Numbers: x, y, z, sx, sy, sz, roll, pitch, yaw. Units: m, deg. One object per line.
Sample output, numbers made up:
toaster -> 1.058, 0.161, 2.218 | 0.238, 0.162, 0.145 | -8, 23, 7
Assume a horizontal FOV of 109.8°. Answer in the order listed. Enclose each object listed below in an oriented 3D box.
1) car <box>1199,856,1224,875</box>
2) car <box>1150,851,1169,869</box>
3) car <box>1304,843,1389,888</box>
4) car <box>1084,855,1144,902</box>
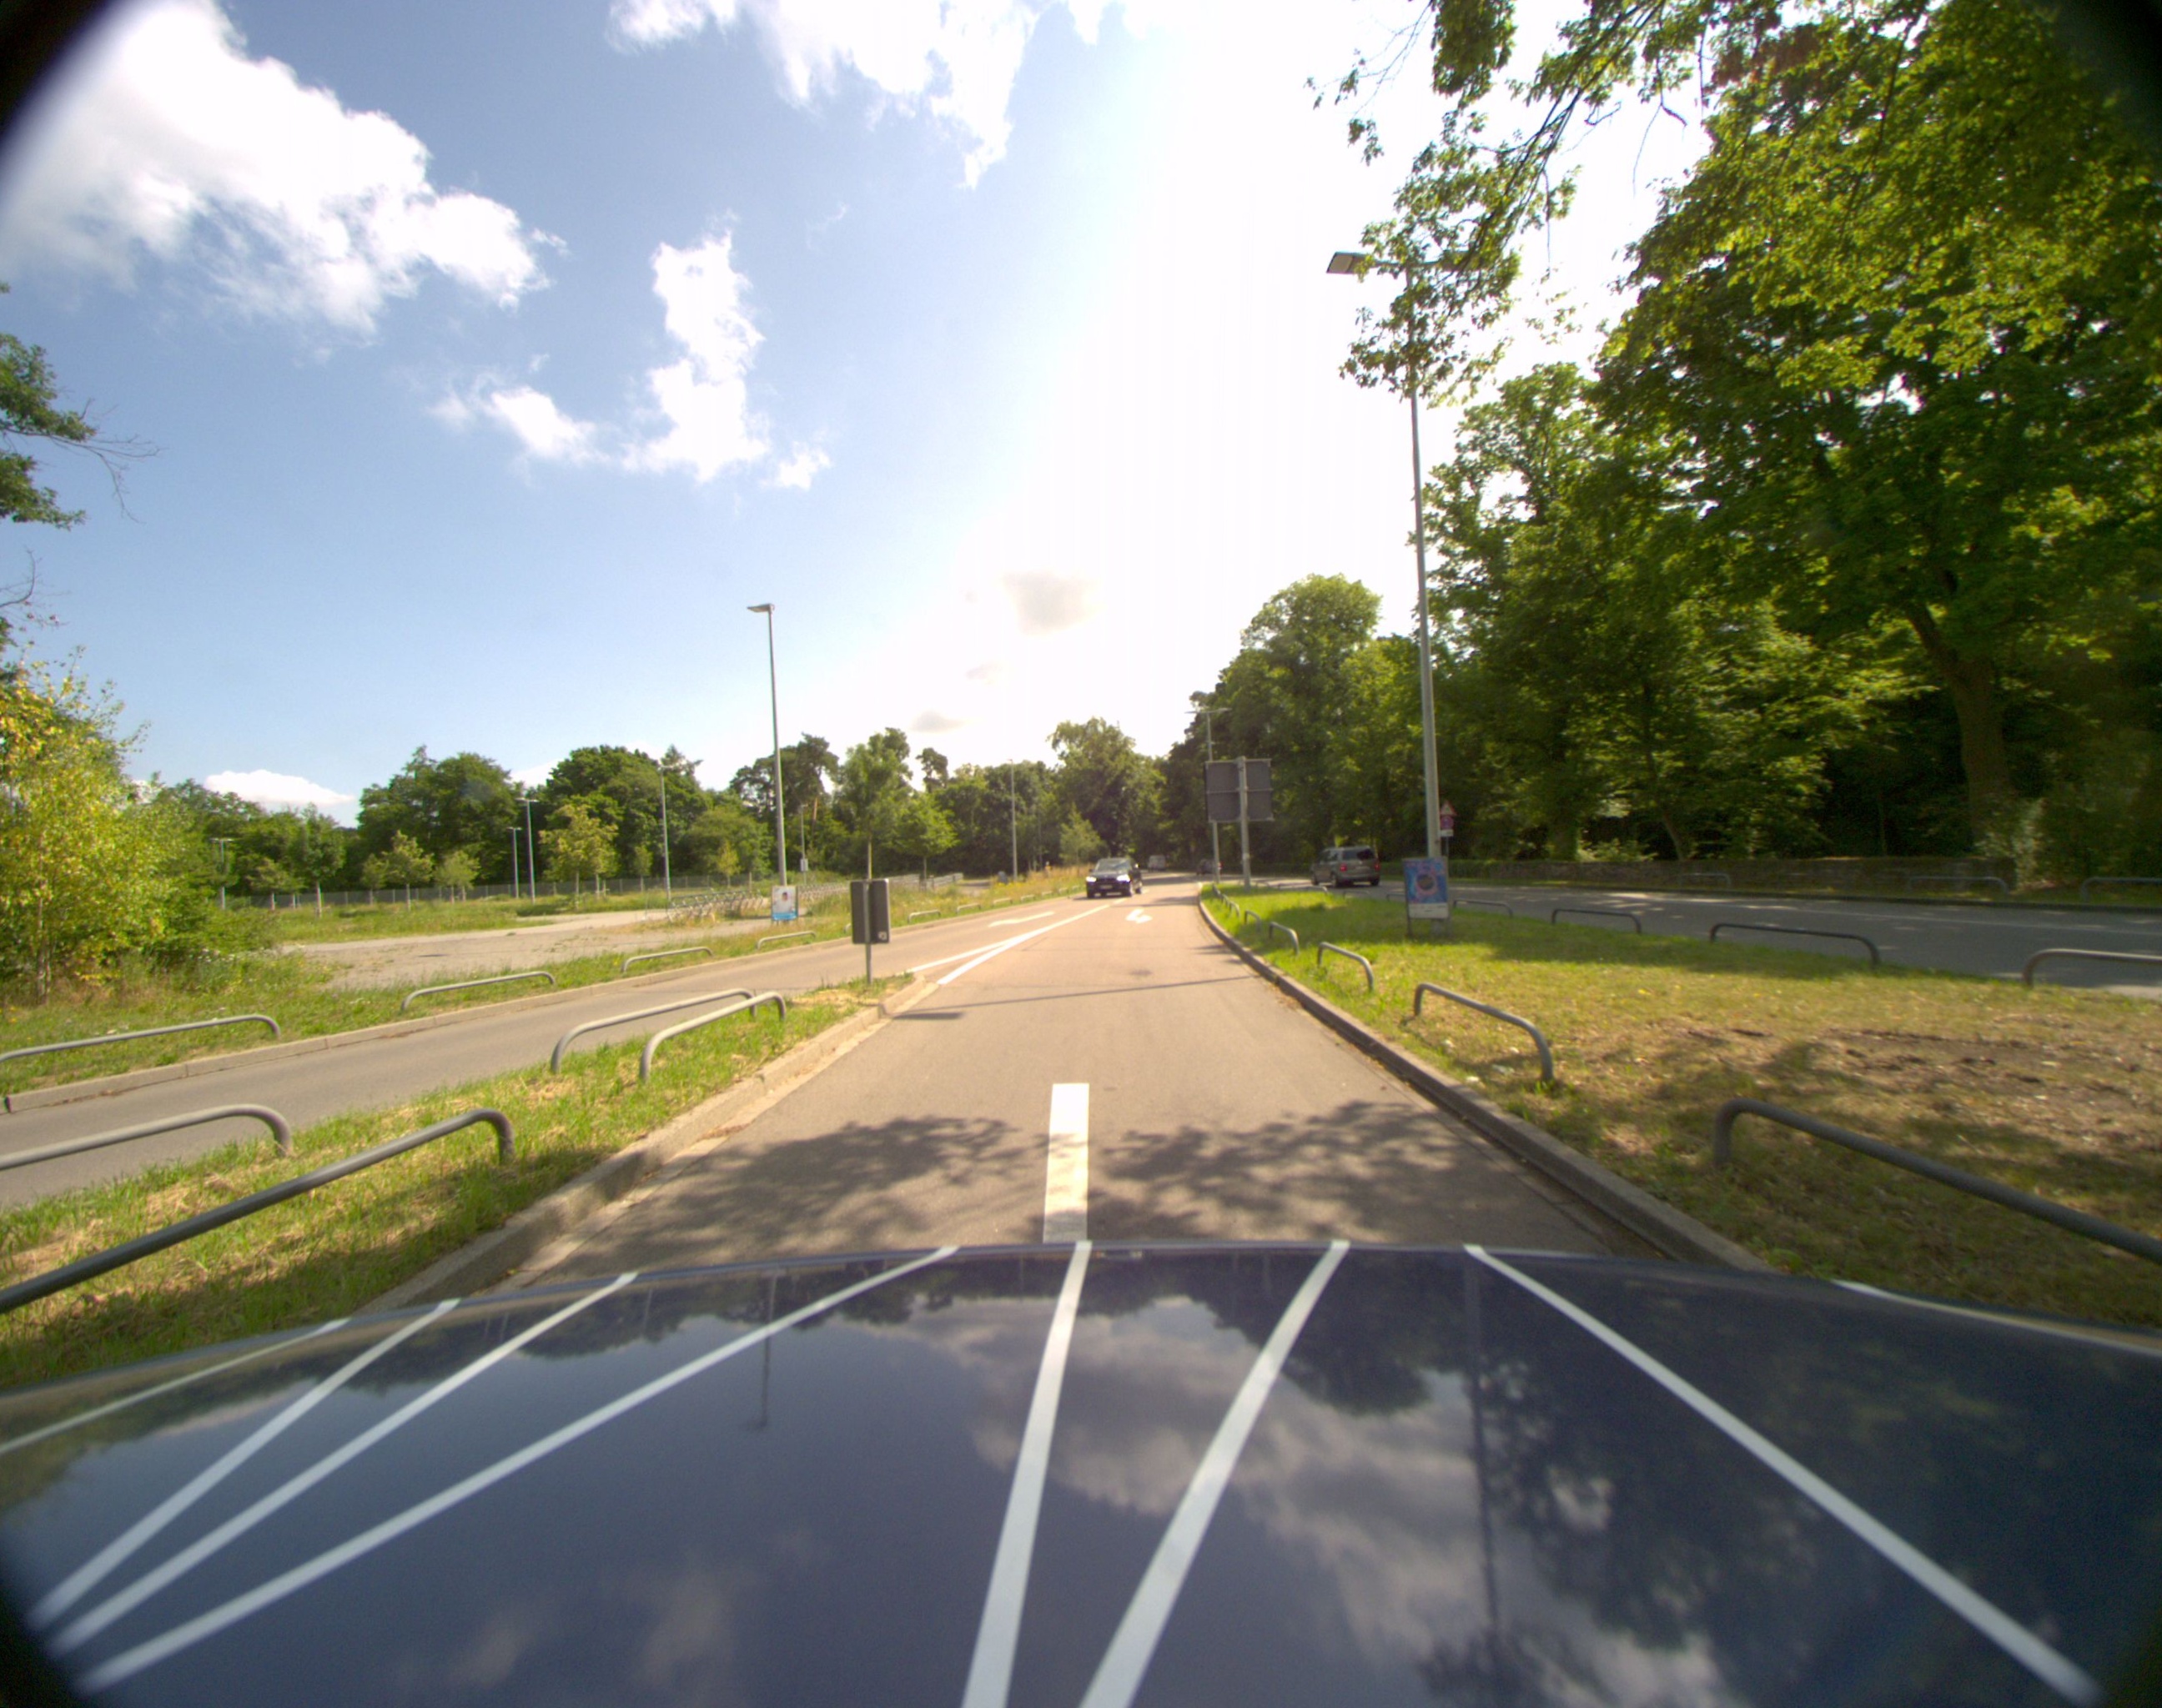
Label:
car -> 11.595, 1.003, 67.867 | 1.698, 1.438, 4.067 | -4, 1, 3
car -> 11.459, 0.820, 111.342 | 1.980, 2.417, 5.361 | -4, 1, -2
car -> 10.939, 0.461, 31.673 | 1.766, 1.620, 4.298 | -5, -1, -3
car -> 1.558, 1.028, 33.759 | 1.978, 1.754, 4.710 | -3, 1, 10
